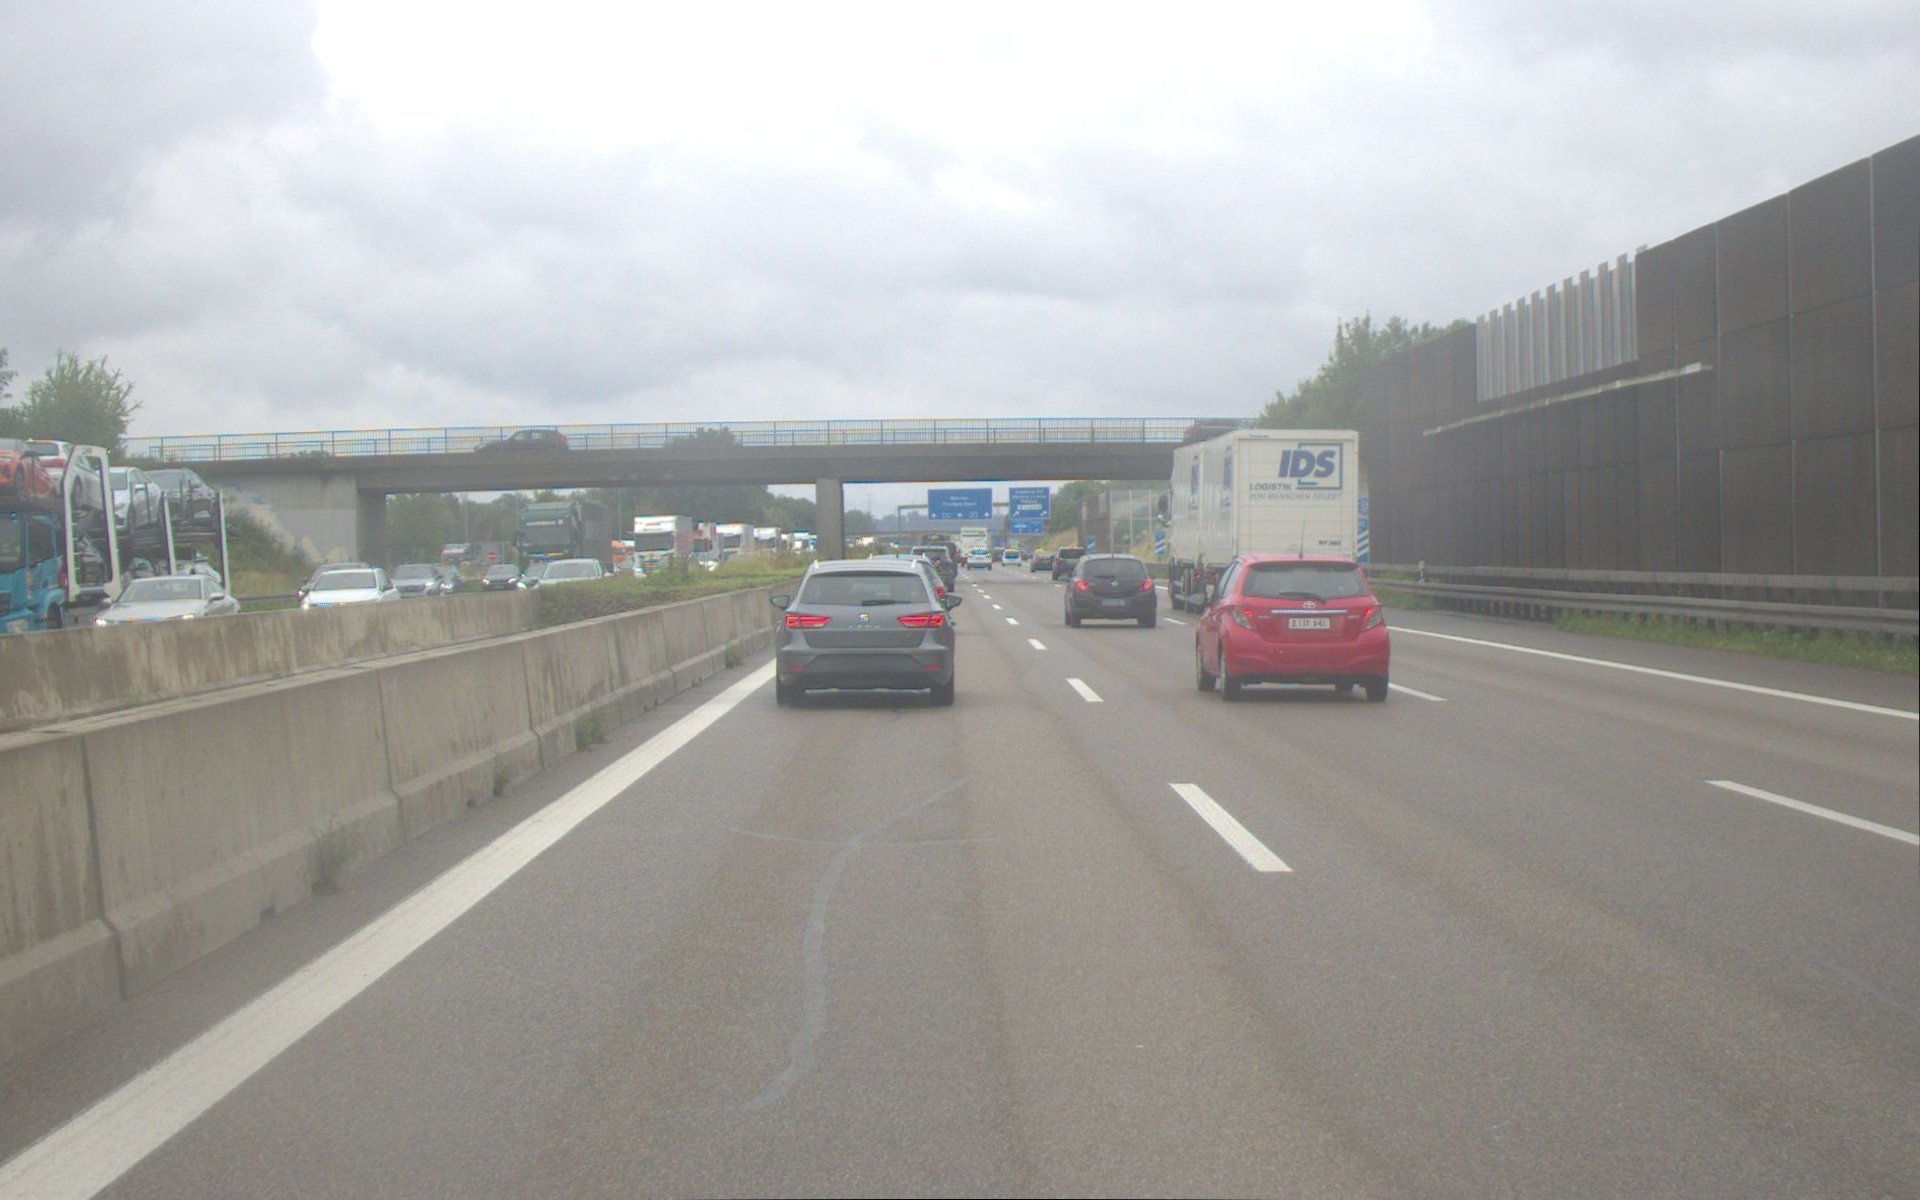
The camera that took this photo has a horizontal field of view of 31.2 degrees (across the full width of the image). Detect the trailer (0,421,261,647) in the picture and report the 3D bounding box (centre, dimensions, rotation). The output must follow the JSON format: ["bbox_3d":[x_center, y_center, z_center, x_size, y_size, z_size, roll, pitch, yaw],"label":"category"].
[{"bbox_3d":[-17.896,-1.322,72.638,2.998,4.227,15.708,1,0,0],"label":"trailer"}]

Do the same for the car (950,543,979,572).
[{"bbox_3d":[0.322,-3.048,248.317,1.993,2.007,4.242,1,0,0],"label":"car"}]

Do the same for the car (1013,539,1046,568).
[{"bbox_3d":[4.550,-3.036,224.099,1.993,1.806,4.228,-2,1,0],"label":"car"}]

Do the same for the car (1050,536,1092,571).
[{"bbox_3d":[5.454,-2.261,169.329,1.845,1.681,4.000,1,0,-1],"label":"car"}]

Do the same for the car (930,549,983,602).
[{"bbox_3d":[-0.139,-0.878,121.723,1.704,1.790,3.855,-2,1,-2],"label":"car"}]

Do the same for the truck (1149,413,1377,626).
[{"bbox_3d":[6.688,-1.713,79.354,3.283,4.280,19.034,1,0,-1],"label":"truck"}]

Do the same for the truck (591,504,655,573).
[{"bbox_3d":[-20.327,-3.691,207.703,3.272,4.031,5.293,1,0,0],"label":"truck"}]

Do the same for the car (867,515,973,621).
[{"bbox_3d":[-0.721,-0.598,62.538,1.826,1.844,4.000,-1,1,0],"label":"car"}]

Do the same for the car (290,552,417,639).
[{"bbox_3d":[-13.653,-0.114,77.640,1.993,1.873,5.032,1,0,0],"label":"car"}]

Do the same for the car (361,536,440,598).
[{"bbox_3d":[-18.870,-1.122,116.101,1.993,2.007,4.000,-2,1,0],"label":"car"}]

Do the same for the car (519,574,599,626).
[{"bbox_3d":[-13.573,-0.018,116.494,2.093,1.704,4.800,0,1,1],"label":"car"}]

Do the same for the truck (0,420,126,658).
[{"bbox_3d":[-17.836,-1.131,64.314,2.956,4.227,6.235,1,0,-1],"label":"truck"}]

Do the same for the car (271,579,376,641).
[{"bbox_3d":[-18.495,0.273,100.153,2.093,1.704,4.962,0,1,1],"label":"car"}]

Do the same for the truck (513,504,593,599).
[{"bbox_3d":[-17.847,-2.117,151.169,2.757,4.036,6.255,1,0,0],"label":"truck"}]

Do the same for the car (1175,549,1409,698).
[{"bbox_3d":[3.403,0.193,36.036,1.891,1.442,4.685,0,1,-1],"label":"car"}]

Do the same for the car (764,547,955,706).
[{"bbox_3d":[-0.975,0.230,34.239,1.768,1.462,4.000,1,0,-1],"label":"car"}]

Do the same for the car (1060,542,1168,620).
[{"bbox_3d":[3.061,-0.406,68.941,1.921,1.516,4.622,0,1,0],"label":"car"}]

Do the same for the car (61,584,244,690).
[{"bbox_3d":[-14.069,0.612,60.199,2.093,1.704,5.166,0,1,-1],"label":"car"}]
